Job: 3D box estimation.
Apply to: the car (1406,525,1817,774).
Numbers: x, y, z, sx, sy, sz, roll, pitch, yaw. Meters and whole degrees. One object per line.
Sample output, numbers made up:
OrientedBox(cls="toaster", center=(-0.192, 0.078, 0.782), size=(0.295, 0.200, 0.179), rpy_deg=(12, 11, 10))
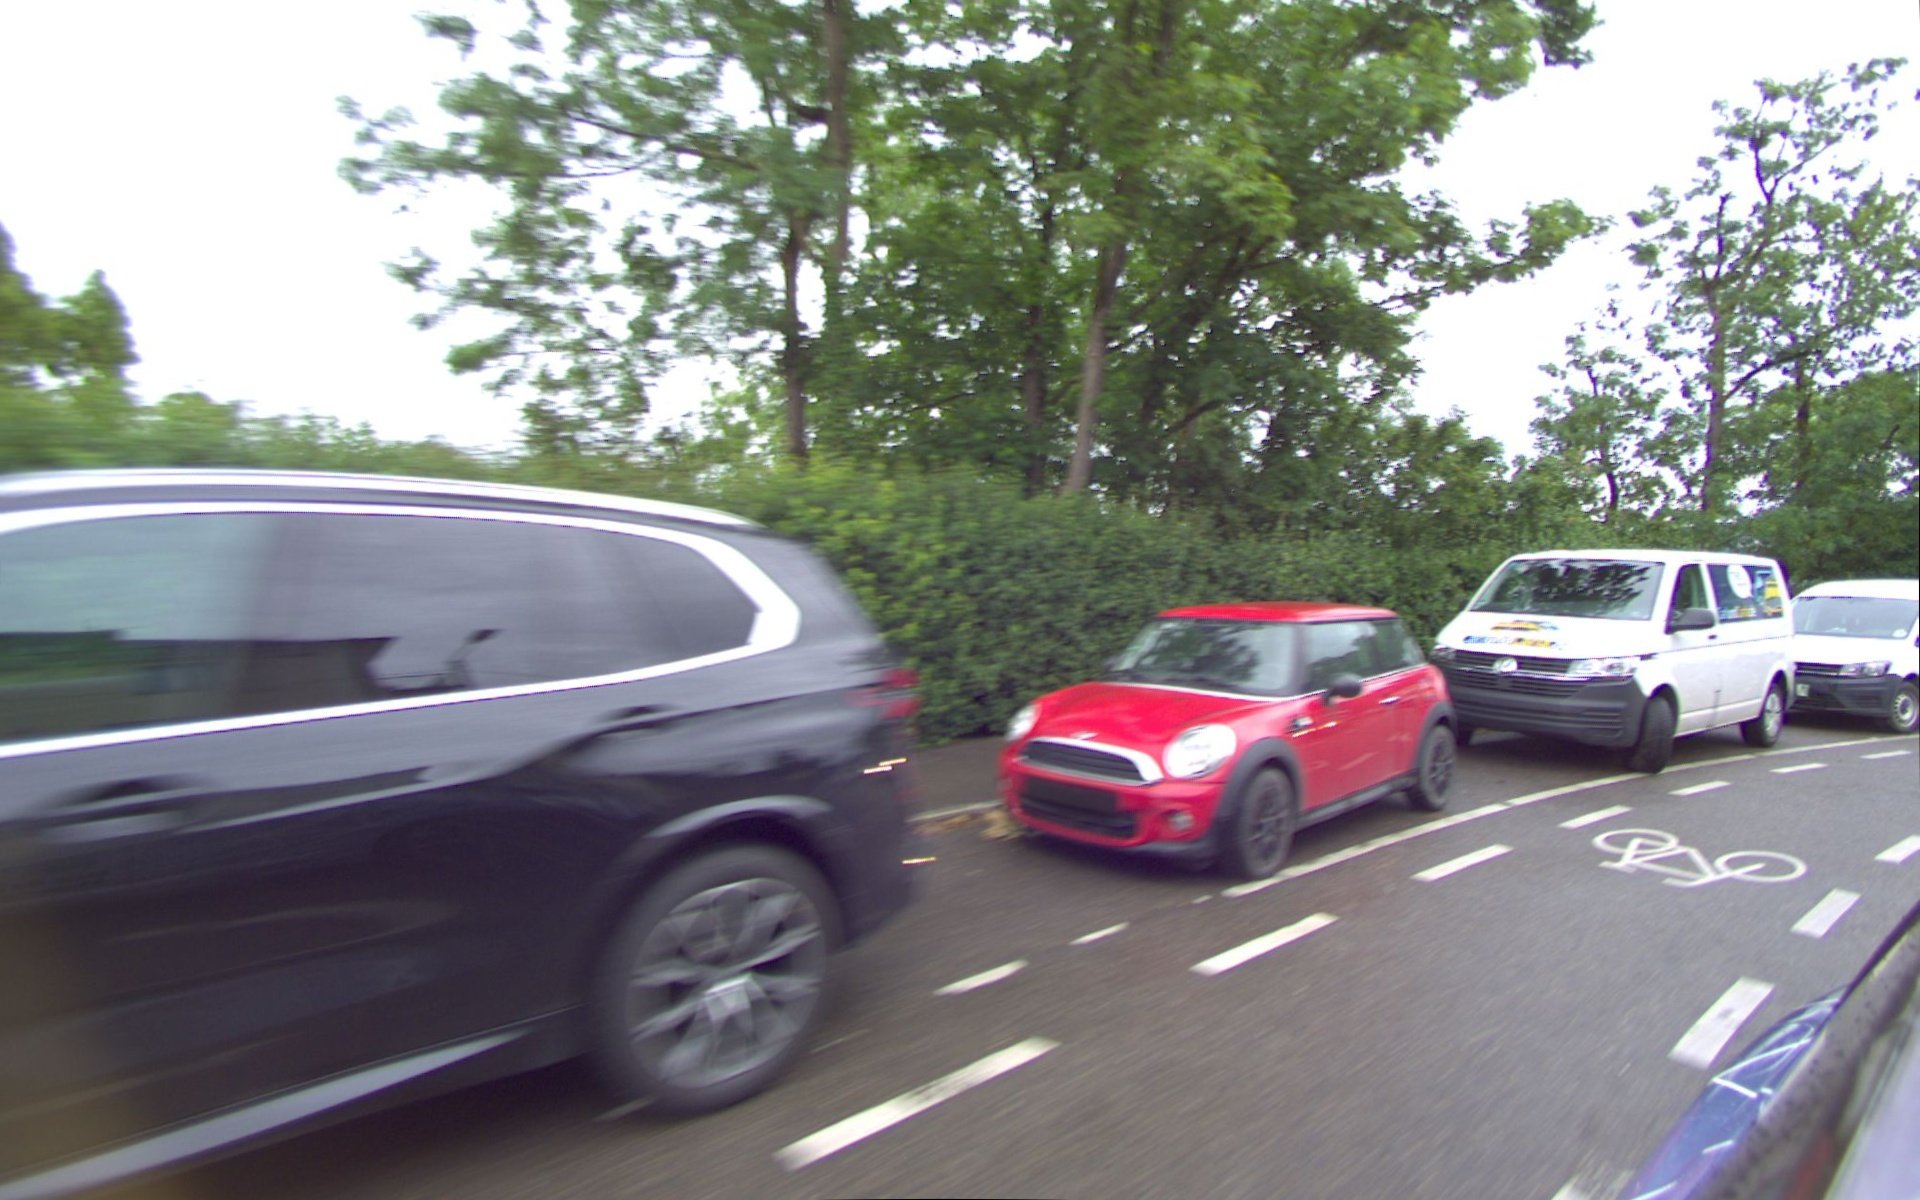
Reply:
OrientedBox(cls="car", center=(6.654, 0.352, 10.144), size=(4.717, 1.972, 1.866), rpy_deg=(0, 1, -36))

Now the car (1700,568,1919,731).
OrientedBox(cls="car", center=(11.736, 0.546, 12.990), size=(4.289, 1.793, 1.868), rpy_deg=(0, 0, -27))

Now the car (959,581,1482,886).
OrientedBox(cls="car", center=(1.887, 0.613, 6.649), size=(3.681, 1.432, 1.672), rpy_deg=(-1, 0, -44))

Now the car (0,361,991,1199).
OrientedBox(cls="car", center=(-2.352, 0.486, 2.541), size=(4.815, 1.805, 2.029), rpy_deg=(0, 0, -42))
